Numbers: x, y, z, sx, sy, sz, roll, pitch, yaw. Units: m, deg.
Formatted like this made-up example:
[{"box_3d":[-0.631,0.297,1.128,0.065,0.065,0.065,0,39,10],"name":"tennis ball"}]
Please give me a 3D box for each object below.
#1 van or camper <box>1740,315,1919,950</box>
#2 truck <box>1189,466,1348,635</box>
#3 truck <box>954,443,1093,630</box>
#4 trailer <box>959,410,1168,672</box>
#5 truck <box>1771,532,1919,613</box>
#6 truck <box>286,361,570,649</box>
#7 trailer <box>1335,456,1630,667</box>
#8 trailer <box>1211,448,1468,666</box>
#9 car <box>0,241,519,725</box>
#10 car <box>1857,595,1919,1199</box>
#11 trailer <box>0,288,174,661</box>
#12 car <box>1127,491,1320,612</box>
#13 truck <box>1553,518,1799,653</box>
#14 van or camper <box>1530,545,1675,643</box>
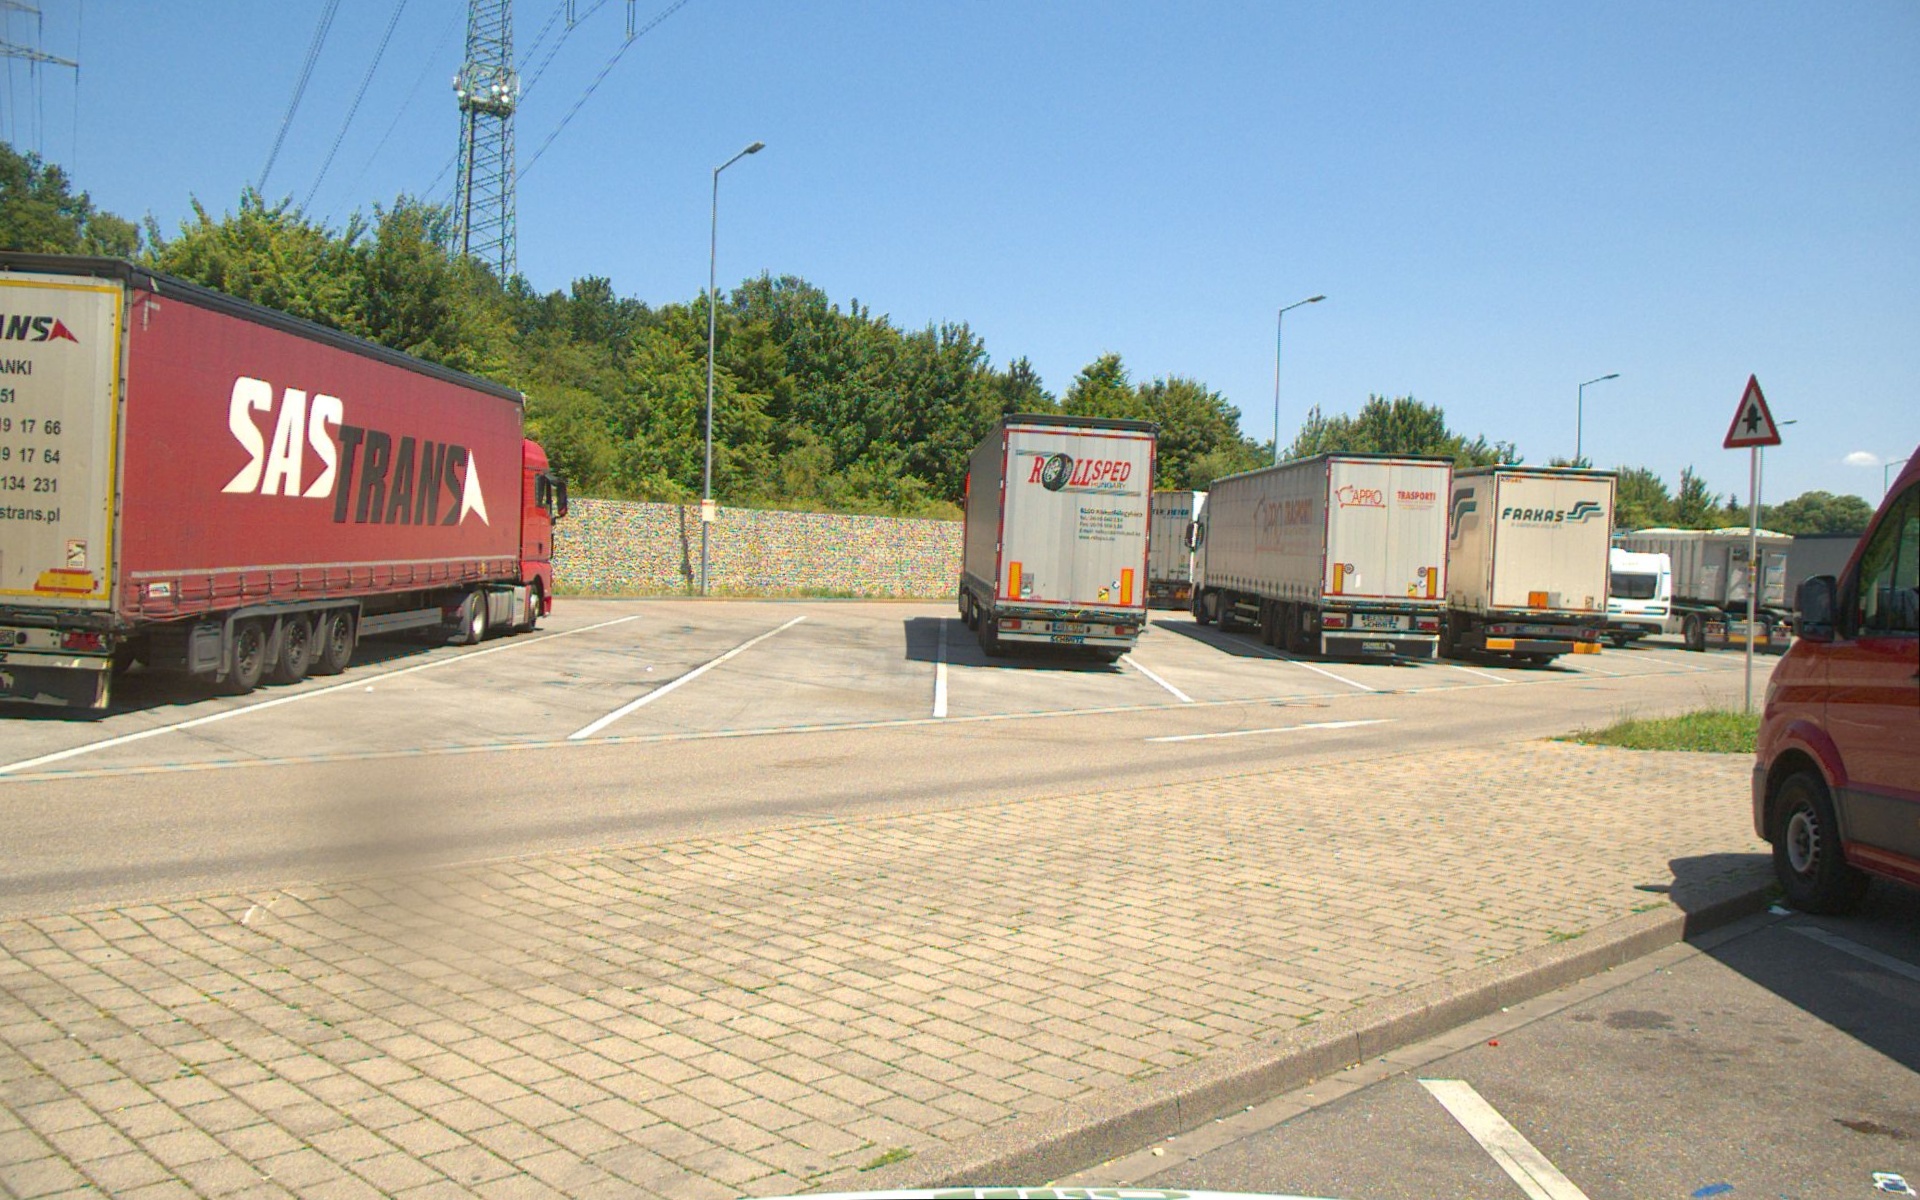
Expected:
[{"box_3d":[4.989,0.173,5.534,1.954,2.700,6.482,1,1,3],"name":"van or camper"},{"box_3d":[8.166,-1.383,44.710,2.808,4.107,6.956,2,2,-1],"name":"truck"},{"box_3d":[1.423,-1.565,40.725,2.809,4.107,7.026,2,2,-2],"name":"truck"},{"box_3d":[1.653,-1.239,33.644,2.809,4.107,14.238,2,2,-2],"name":"trailer"},{"box_3d":[34.701,-1.063,63.611,2.082,2.869,9.777,1,1,-1],"name":"truck"},{"box_3d":[-8.698,-1.529,27.852,2.641,4.184,6.239,2,2,0],"name":"truck"},{"box_3d":[11.822,-1.022,39.197,2.808,4.107,12.438,2,2,-1],"name":"trailer"},{"box_3d":[8.245,-1.088,38.080,2.808,4.107,12.438,2,2,-1],"name":"trailer"},{"box_3d":[-8.677,-1.281,20.935,2.641,4.184,12.935,2,2,0],"name":"car"},{"box_3d":[2.539,0.794,1.086,1.584,1.509,3.762,1,1,-6],"name":"car"},{"box_3d":[-12.547,-1.407,17.136,2.756,4.341,12.940,2,2,-1],"name":"trailer"},{"box_3d":[9.834,-1.724,60.895,2.643,4.114,8.413,5,3,43],"name":"car"},{"box_3d":[21.747,-0.646,51.218,2.437,3.630,11.423,2,2,-1],"name":"truck"},{"box_3d":[18.266,-0.219,47.322,2.061,2.606,5.372,1,1,0],"name":"van or camper"}]
